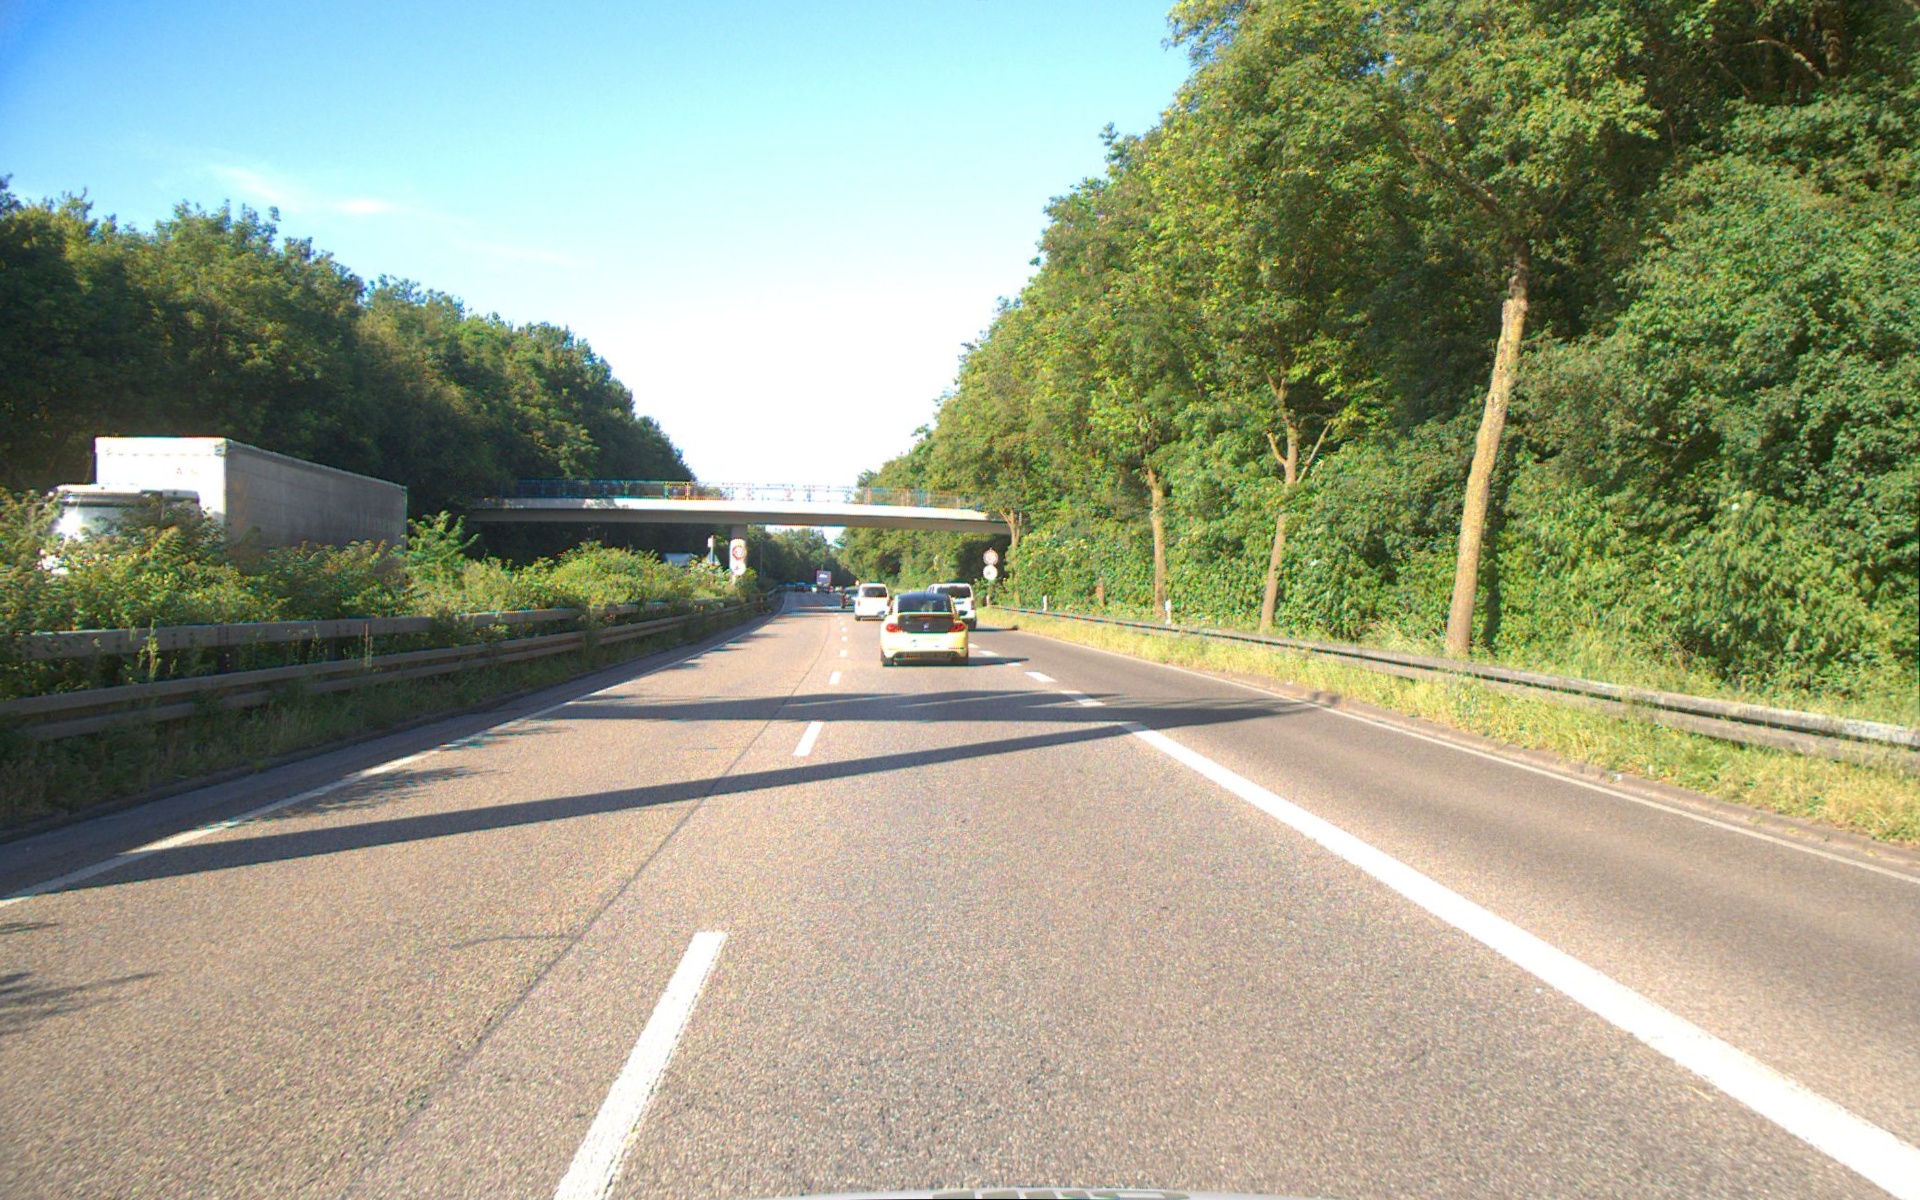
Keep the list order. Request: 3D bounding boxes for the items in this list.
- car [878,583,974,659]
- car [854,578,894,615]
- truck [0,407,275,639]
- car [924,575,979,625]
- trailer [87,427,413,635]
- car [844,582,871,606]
[{"bbox_3d":[-0.770,0.408,34.672,1.859,1.496,3.997,0,0,-4],"label":"car"},{"bbox_3d":[-4.289,-0.198,82.134,1.860,1.798,3.996,0,0,-5],"label":"car"},{"bbox_3d":[-16.058,-1.395,32.731,2.684,4.097,6.175,1,0,-4],"label":"truck"},{"bbox_3d":[-0.363,-0.007,63.059,1.860,1.855,3.997,0,0,-4],"label":"car"},{"bbox_3d":[-16.563,-1.431,40.221,2.684,4.097,14.064,1,0,-4],"label":"trailer"},{"bbox_3d":[-7.576,-0.445,122.221,1.860,1.798,3.996,0,0,-5],"label":"car"}]
